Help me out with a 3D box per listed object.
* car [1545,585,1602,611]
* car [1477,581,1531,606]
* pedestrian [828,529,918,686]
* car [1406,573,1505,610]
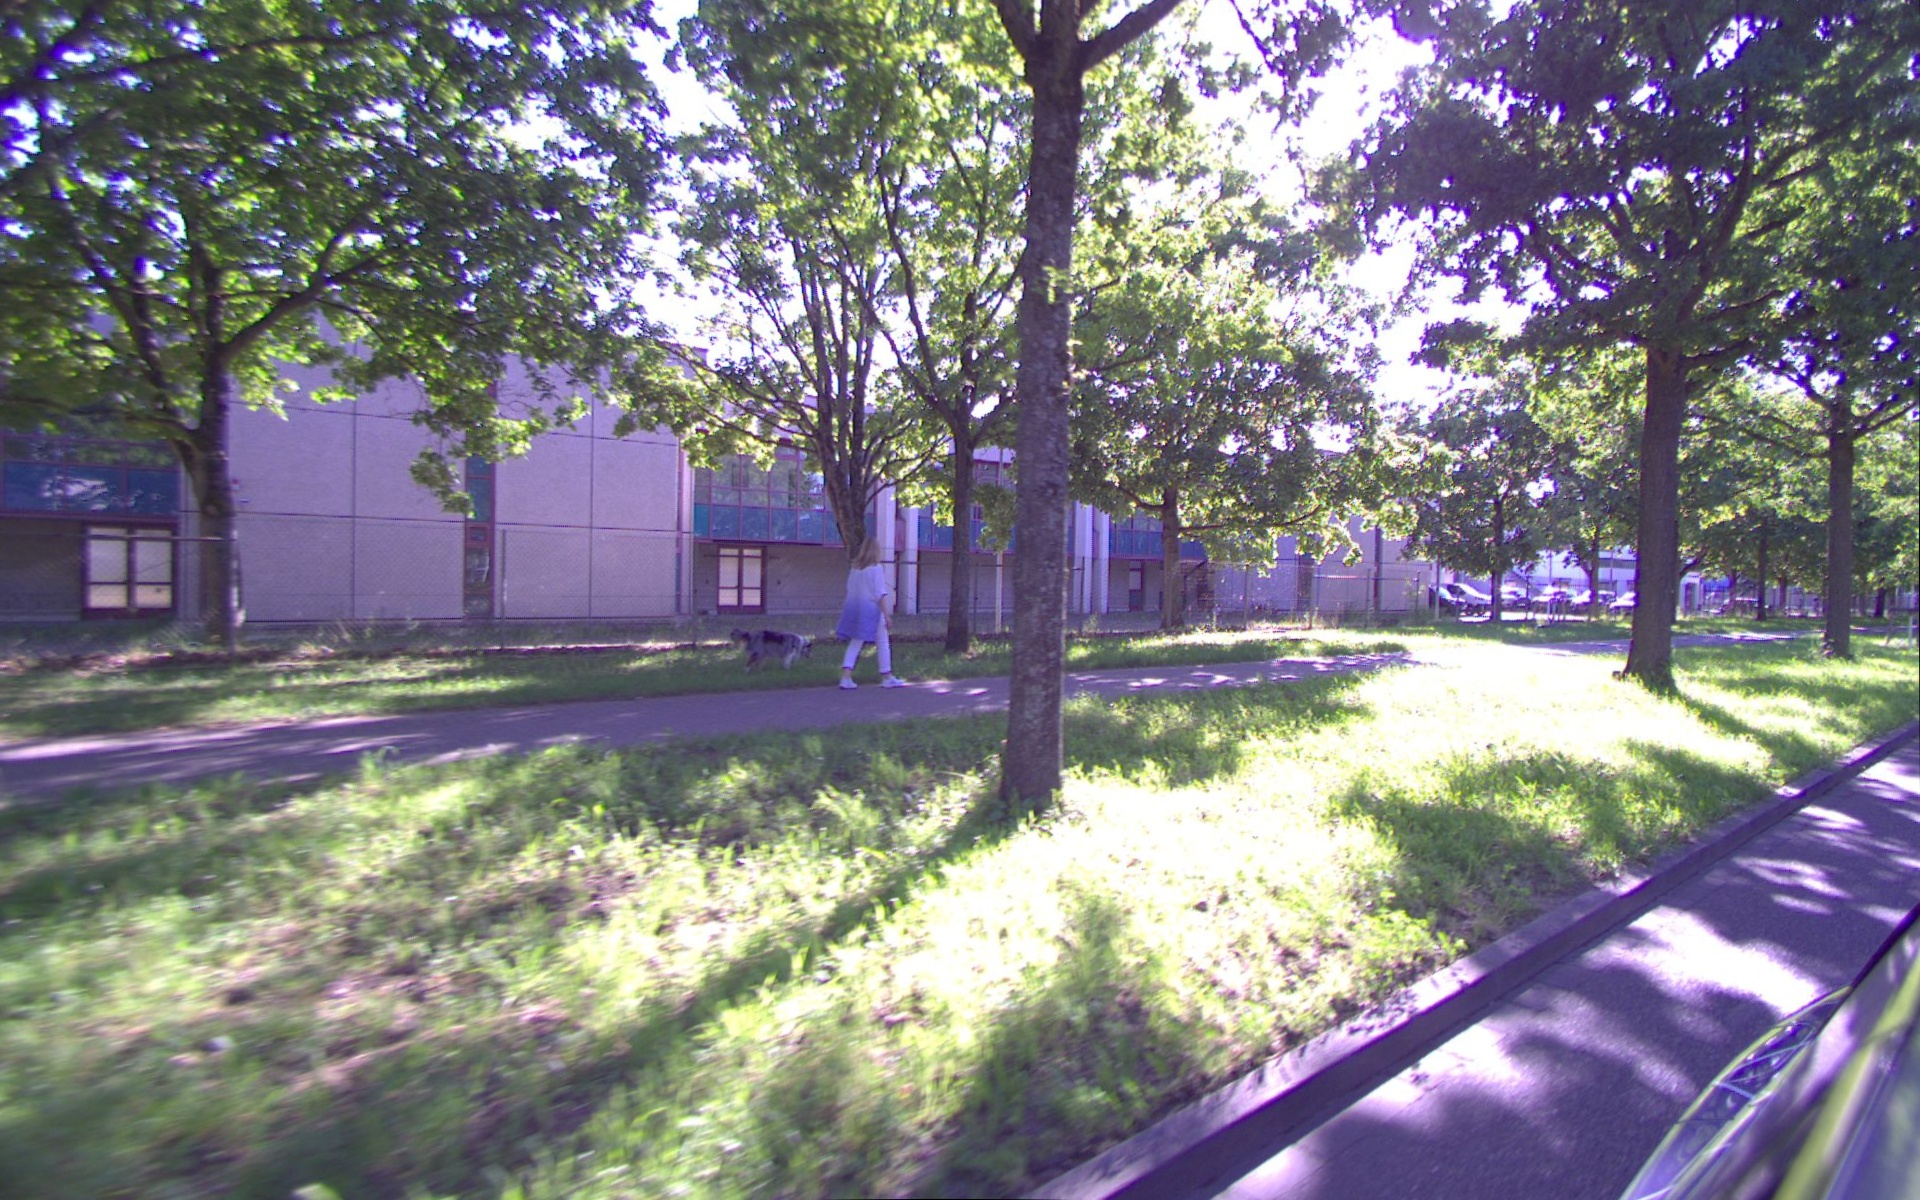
[{"bbox_3d":[41.977,-0.162,69.200,4.376,1.694,1.998,0,2,-39],"label":"car"},{"bbox_3d":[38.280,-0.493,71.196,4.380,1.694,1.996,0,0,-43],"label":"car"},{"bbox_3d":[-0.960,0.070,11.172,0.706,1.650,0.609,1,3,-39],"label":"pedestrian"},{"bbox_3d":[30.355,-0.542,62.115,1.862,1.983,5.072,0,3,-42],"label":"car"}]
